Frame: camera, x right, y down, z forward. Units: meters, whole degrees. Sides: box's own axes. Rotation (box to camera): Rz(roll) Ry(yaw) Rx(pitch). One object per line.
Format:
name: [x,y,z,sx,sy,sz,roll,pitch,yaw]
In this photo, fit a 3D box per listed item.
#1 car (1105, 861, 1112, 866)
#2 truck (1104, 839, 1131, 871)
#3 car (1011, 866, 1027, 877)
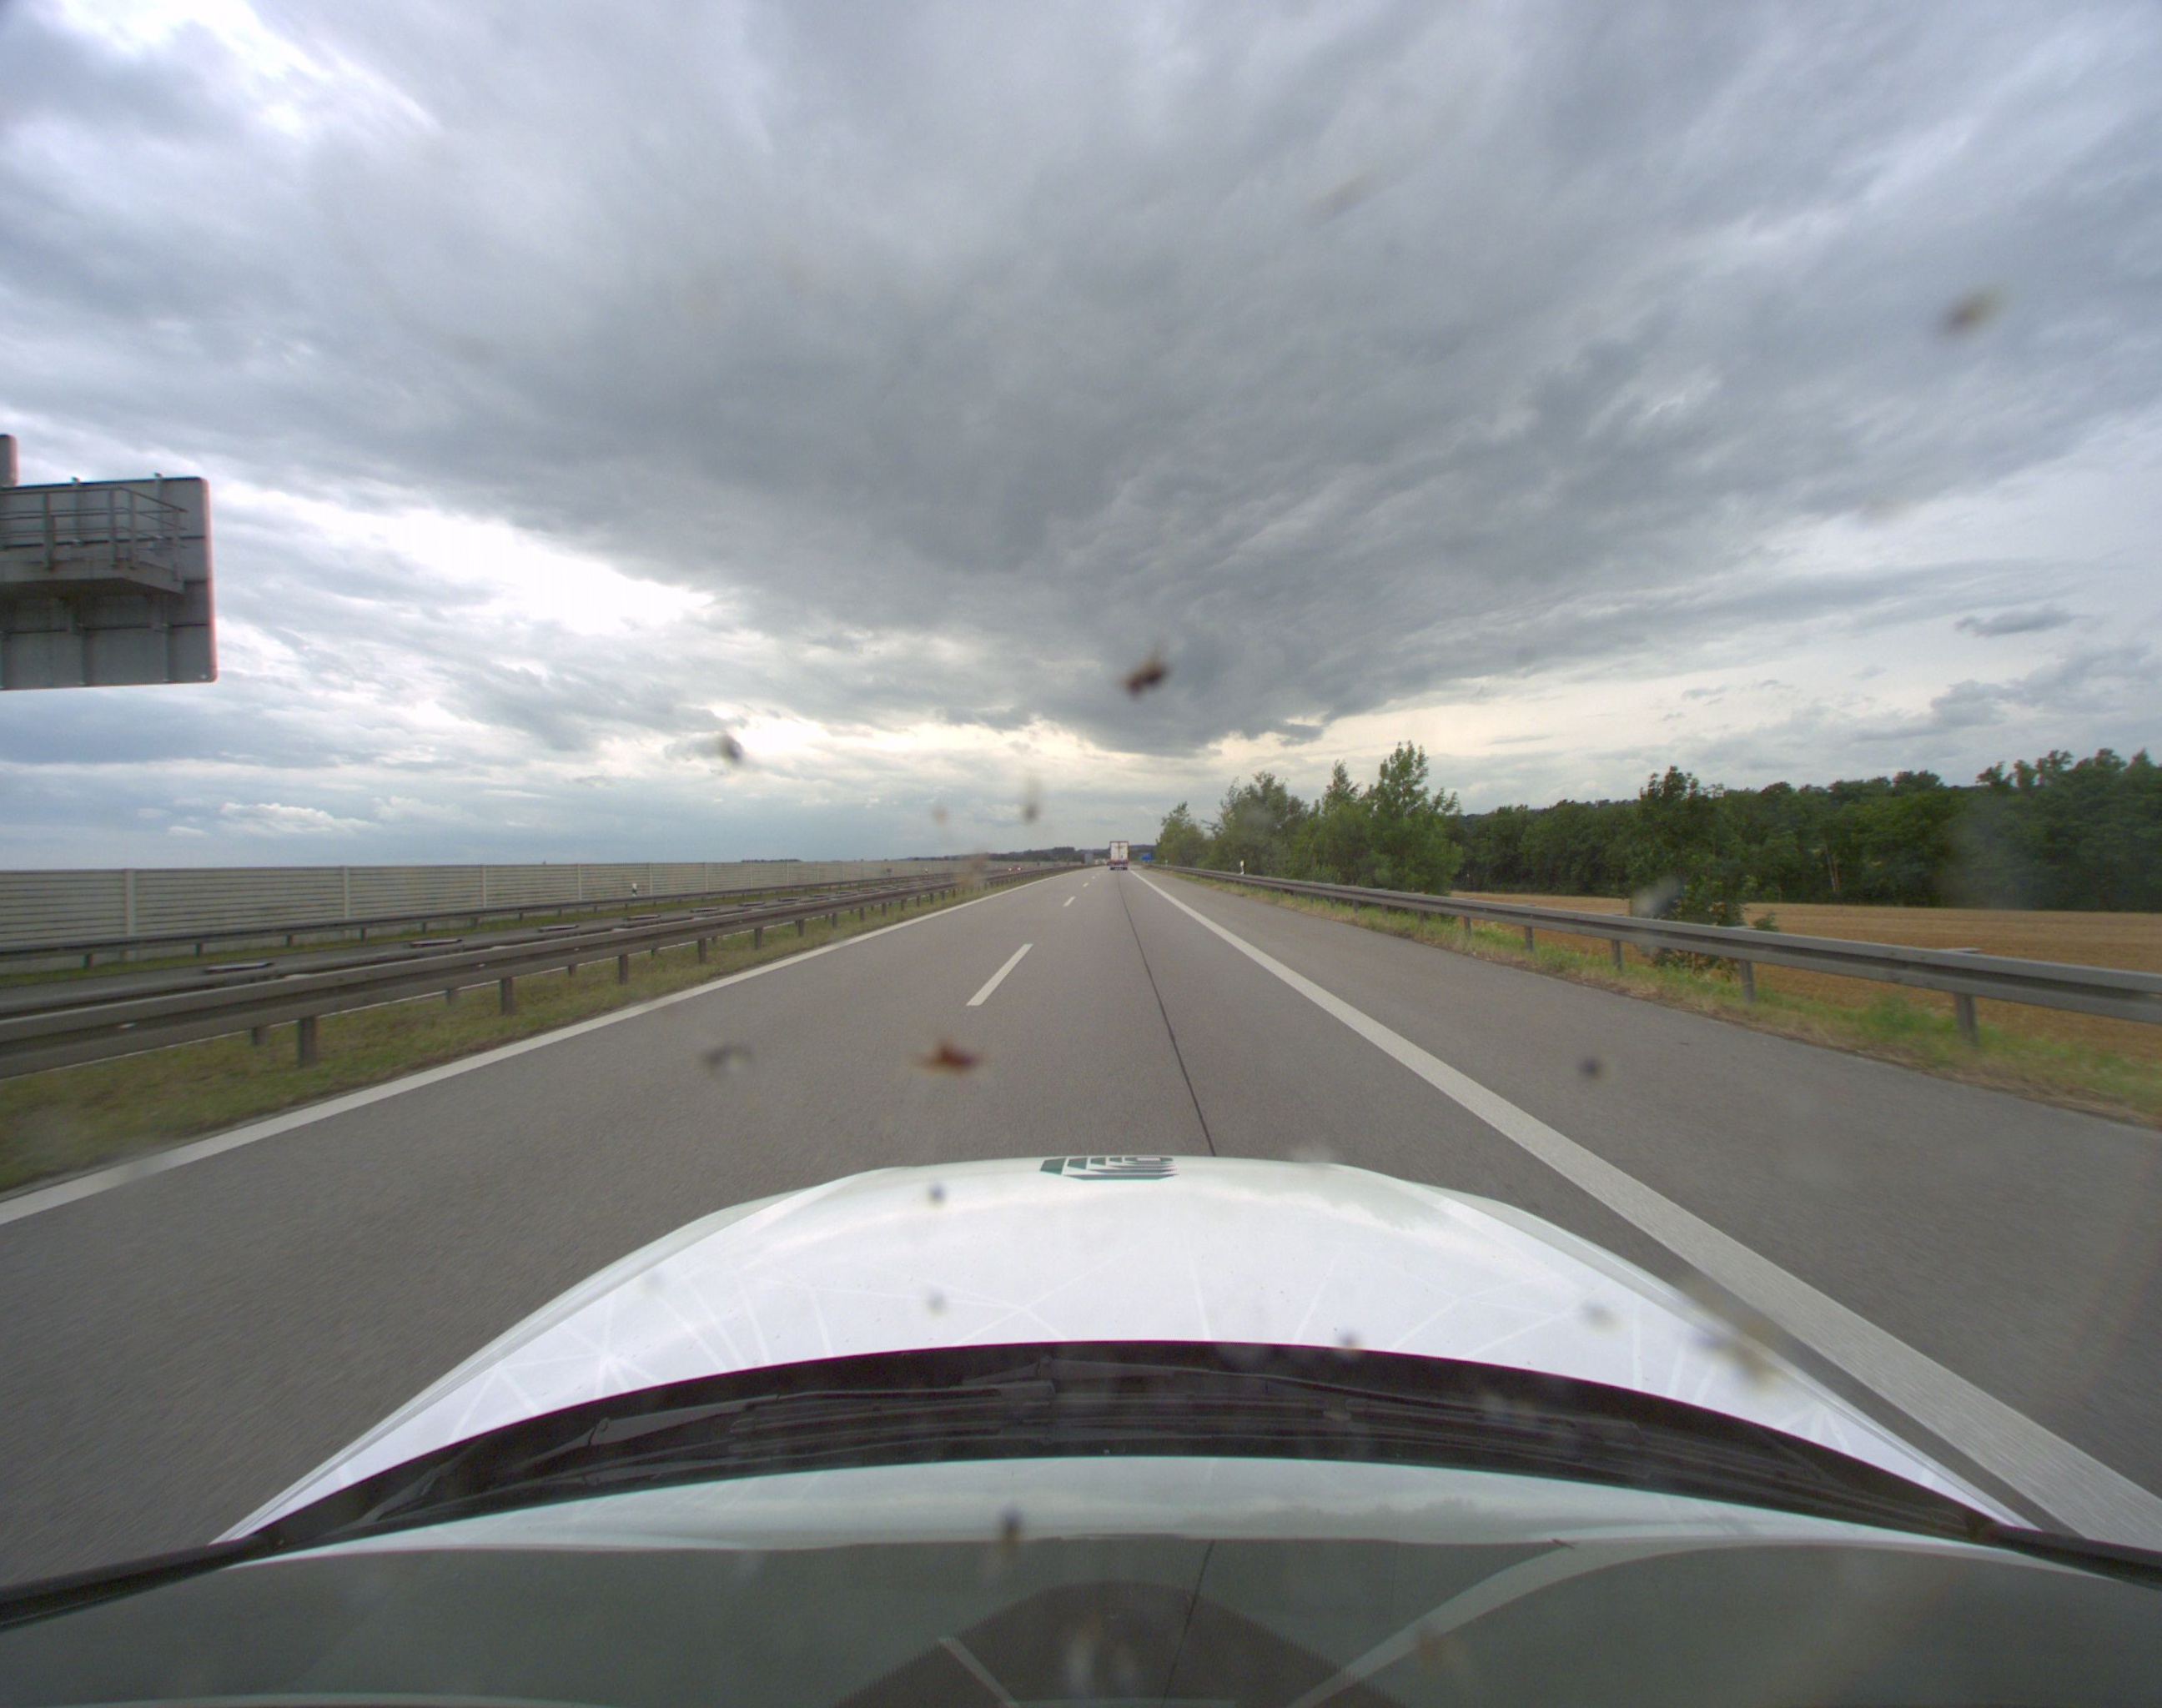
car: [8.802,3.151,262.765,1.988,1.420,3.999,0,1,-1]
truck: [5.401,0.250,121.439,3.658,4.412,16.348,-2,-1,2]
car: [-9.088,2.563,119.711,1.811,1.403,4.879,-3,0,2]
